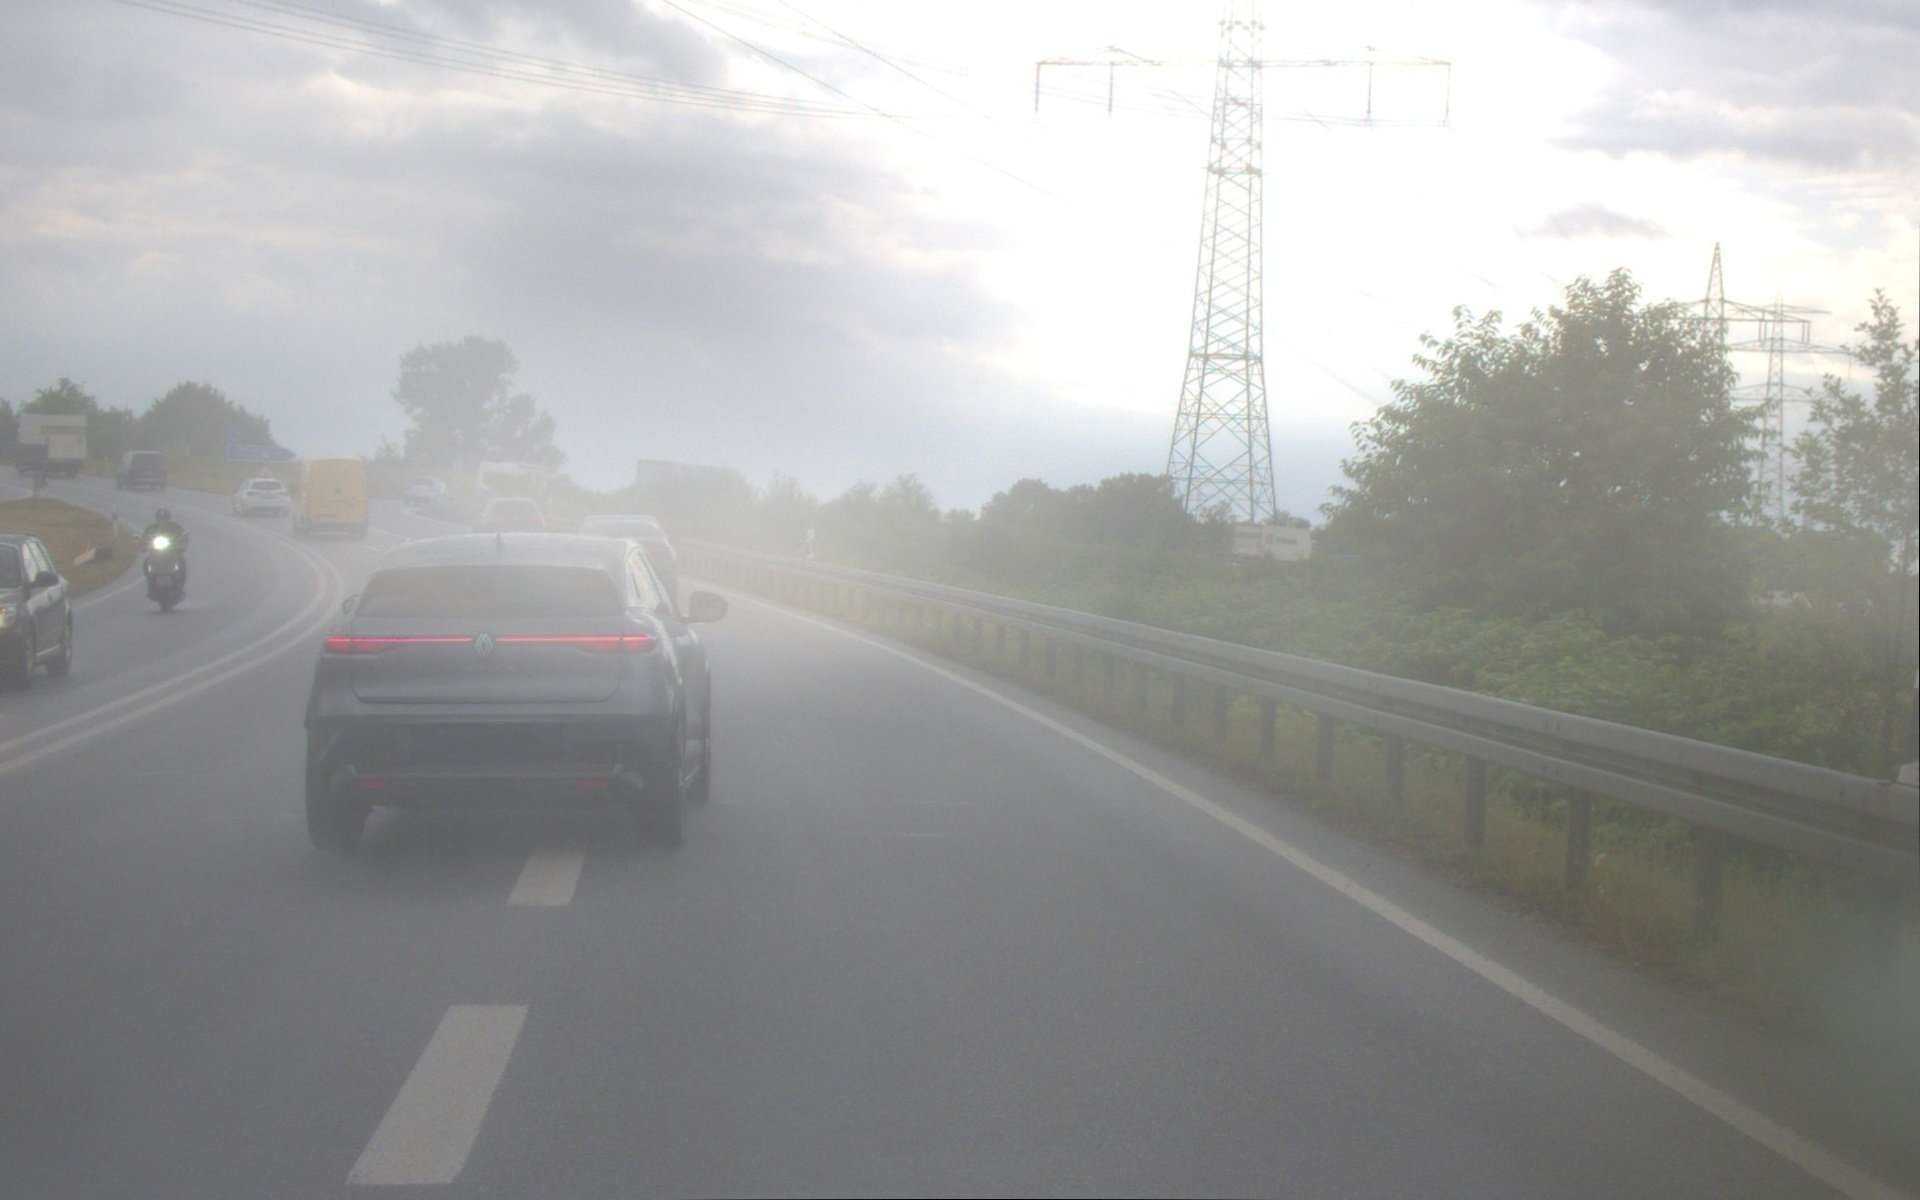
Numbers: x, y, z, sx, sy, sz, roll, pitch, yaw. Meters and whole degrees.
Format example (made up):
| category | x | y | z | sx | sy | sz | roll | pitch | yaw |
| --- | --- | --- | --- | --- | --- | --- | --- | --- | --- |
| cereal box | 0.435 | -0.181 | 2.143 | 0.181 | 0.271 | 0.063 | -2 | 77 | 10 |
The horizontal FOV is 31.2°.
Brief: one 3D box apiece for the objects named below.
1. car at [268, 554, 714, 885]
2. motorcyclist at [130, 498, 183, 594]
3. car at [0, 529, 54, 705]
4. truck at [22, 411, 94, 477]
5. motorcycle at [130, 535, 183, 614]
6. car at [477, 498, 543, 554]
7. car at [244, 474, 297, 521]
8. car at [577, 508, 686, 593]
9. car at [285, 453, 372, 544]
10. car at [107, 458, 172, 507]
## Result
| category | x | y | z | sx | sy | sz | roll | pitch | yaw |
| --- | --- | --- | --- | --- | --- | --- | --- | --- | --- |
| car | -2.237 | 0.511 | 17.349 | 1.791 | 1.436 | 4.000 | 1 | 1 | -2 |
| motorcyclist | -12.925 | -0.871 | 55.337 | 0.801 | 1.530 | 0.825 | 1 | 1 | -13 |
| car | -9.758 | 0.129 | 32.899 | 1.799 | 1.588 | 4.226 | 1 | 0 | -11 |
| truck | -51.275 | -8.837 | 195.300 | 3.045 | 3.373 | 7.646 | 1 | 0 | -21 |
| motorcycle | -12.956 | -0.423 | 55.461 | 0.801 | 1.234 | 2.186 | 1 | 1 | -13 |
| car | -12.945 | -2.120 | 99.080 | 1.791 | 1.536 | 4.001 | 1 | 1 | -7 |
| car | -26.656 | -3.937 | 132.789 | 1.791 | 1.682 | 4.001 | 1 | 0 | -14 |
| car | -5.837 | -0.845 | 60.788 | 1.791 | 1.436 | 4.001 | 0 | 0 | -7 |
| car | -20.190 | -3.190 | 109.690 | 2.572 | 2.716 | 7.198 | 1 | 0 | -12 |
| car | -40.938 | -5.820 | 171.476 | 2.601 | 2.243 | 5.536 | 1 | 0 | -19 |
